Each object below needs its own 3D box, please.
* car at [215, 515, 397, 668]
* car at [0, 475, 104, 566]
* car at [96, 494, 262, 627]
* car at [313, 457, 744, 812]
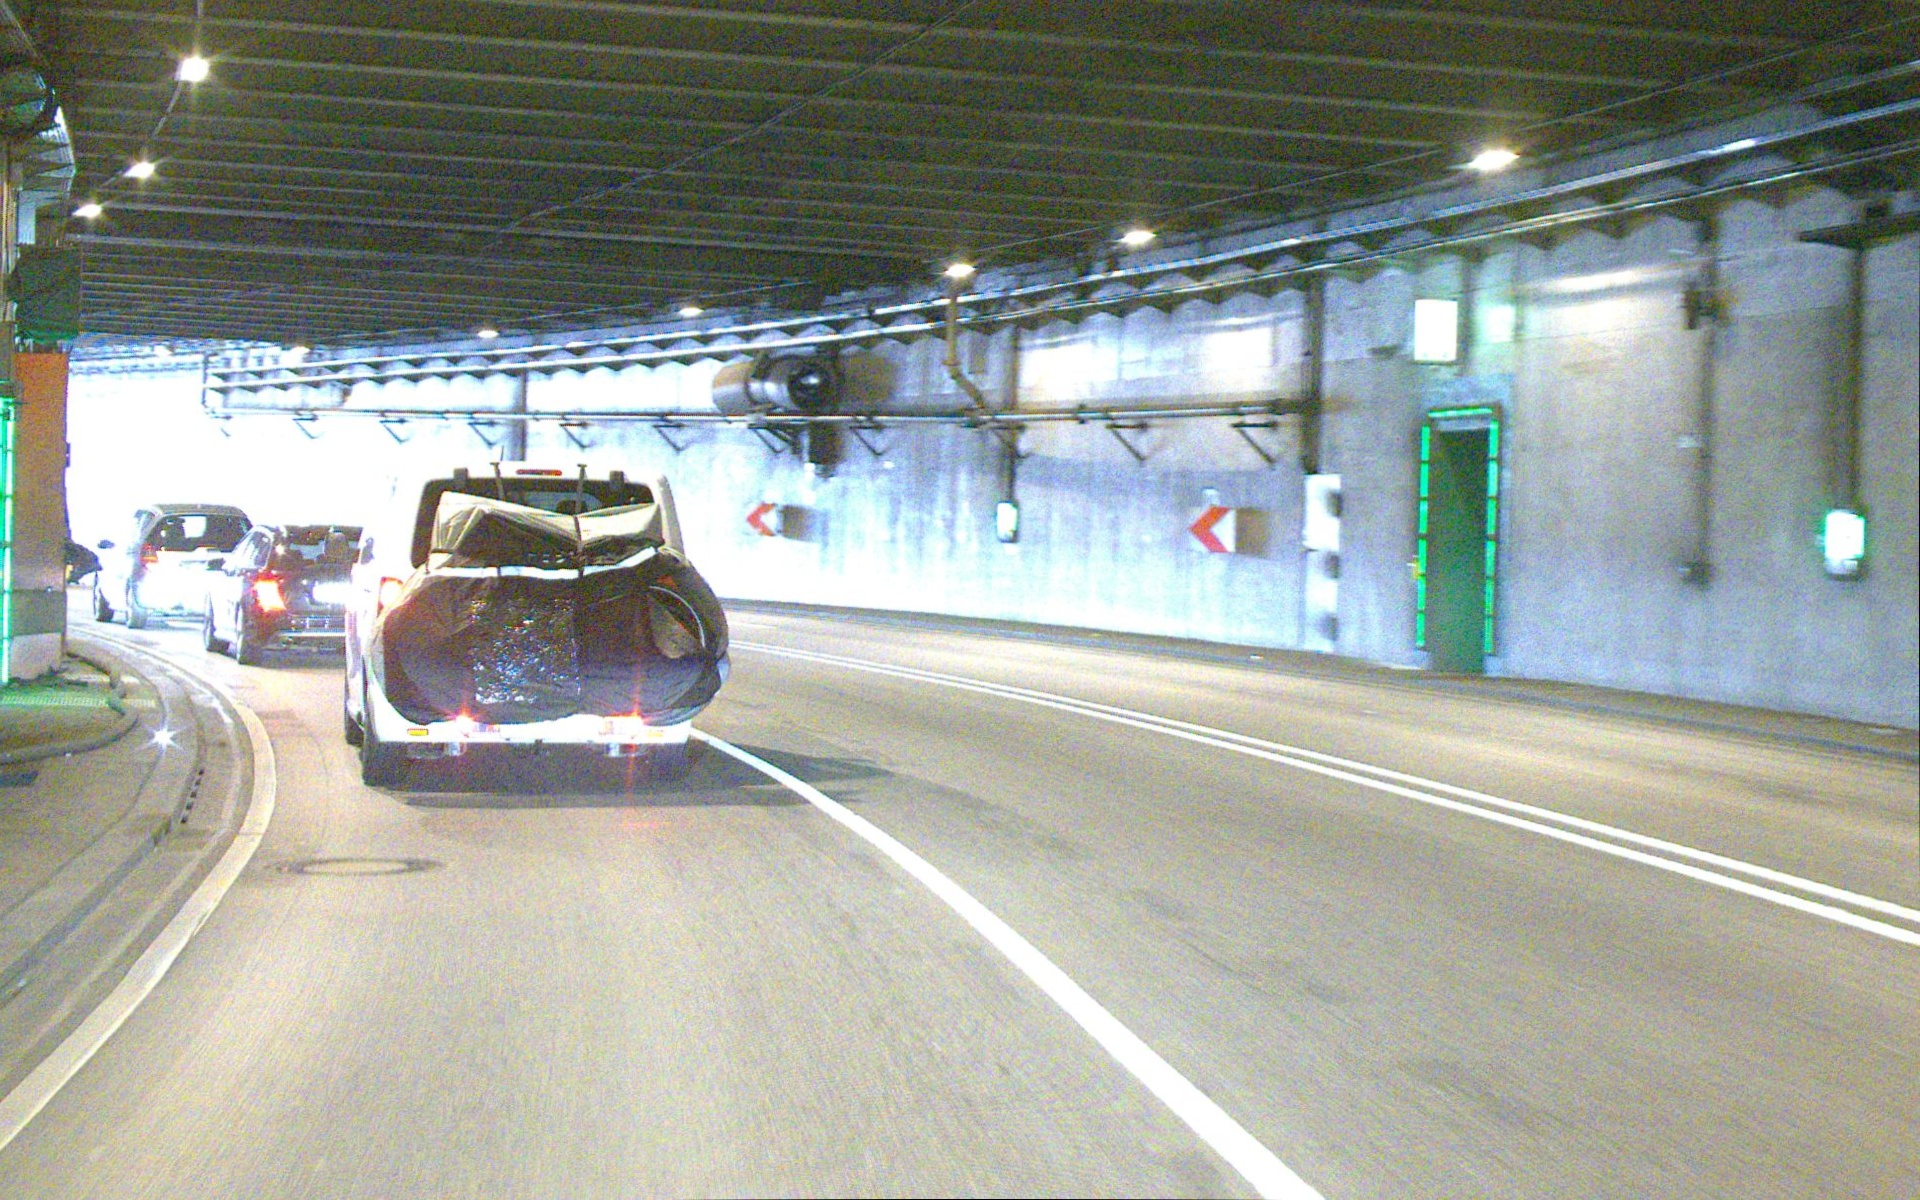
[{"bbox_3d":[-6.627,-0.118,34.628,1.602,1.390,3.278,2,1,-13],"label":"car"},{"bbox_3d":[-17.088,-1.464,64.370,1.602,1.624,3.356,1,0,-21],"label":"car"},{"bbox_3d":[-9.985,-0.507,43.826,1.602,1.588,3.357,2,0,-20],"label":"car"},{"bbox_3d":[-2.735,0.102,20.593,1.993,1.841,5.303,0,2,-13],"label":"car"}]
